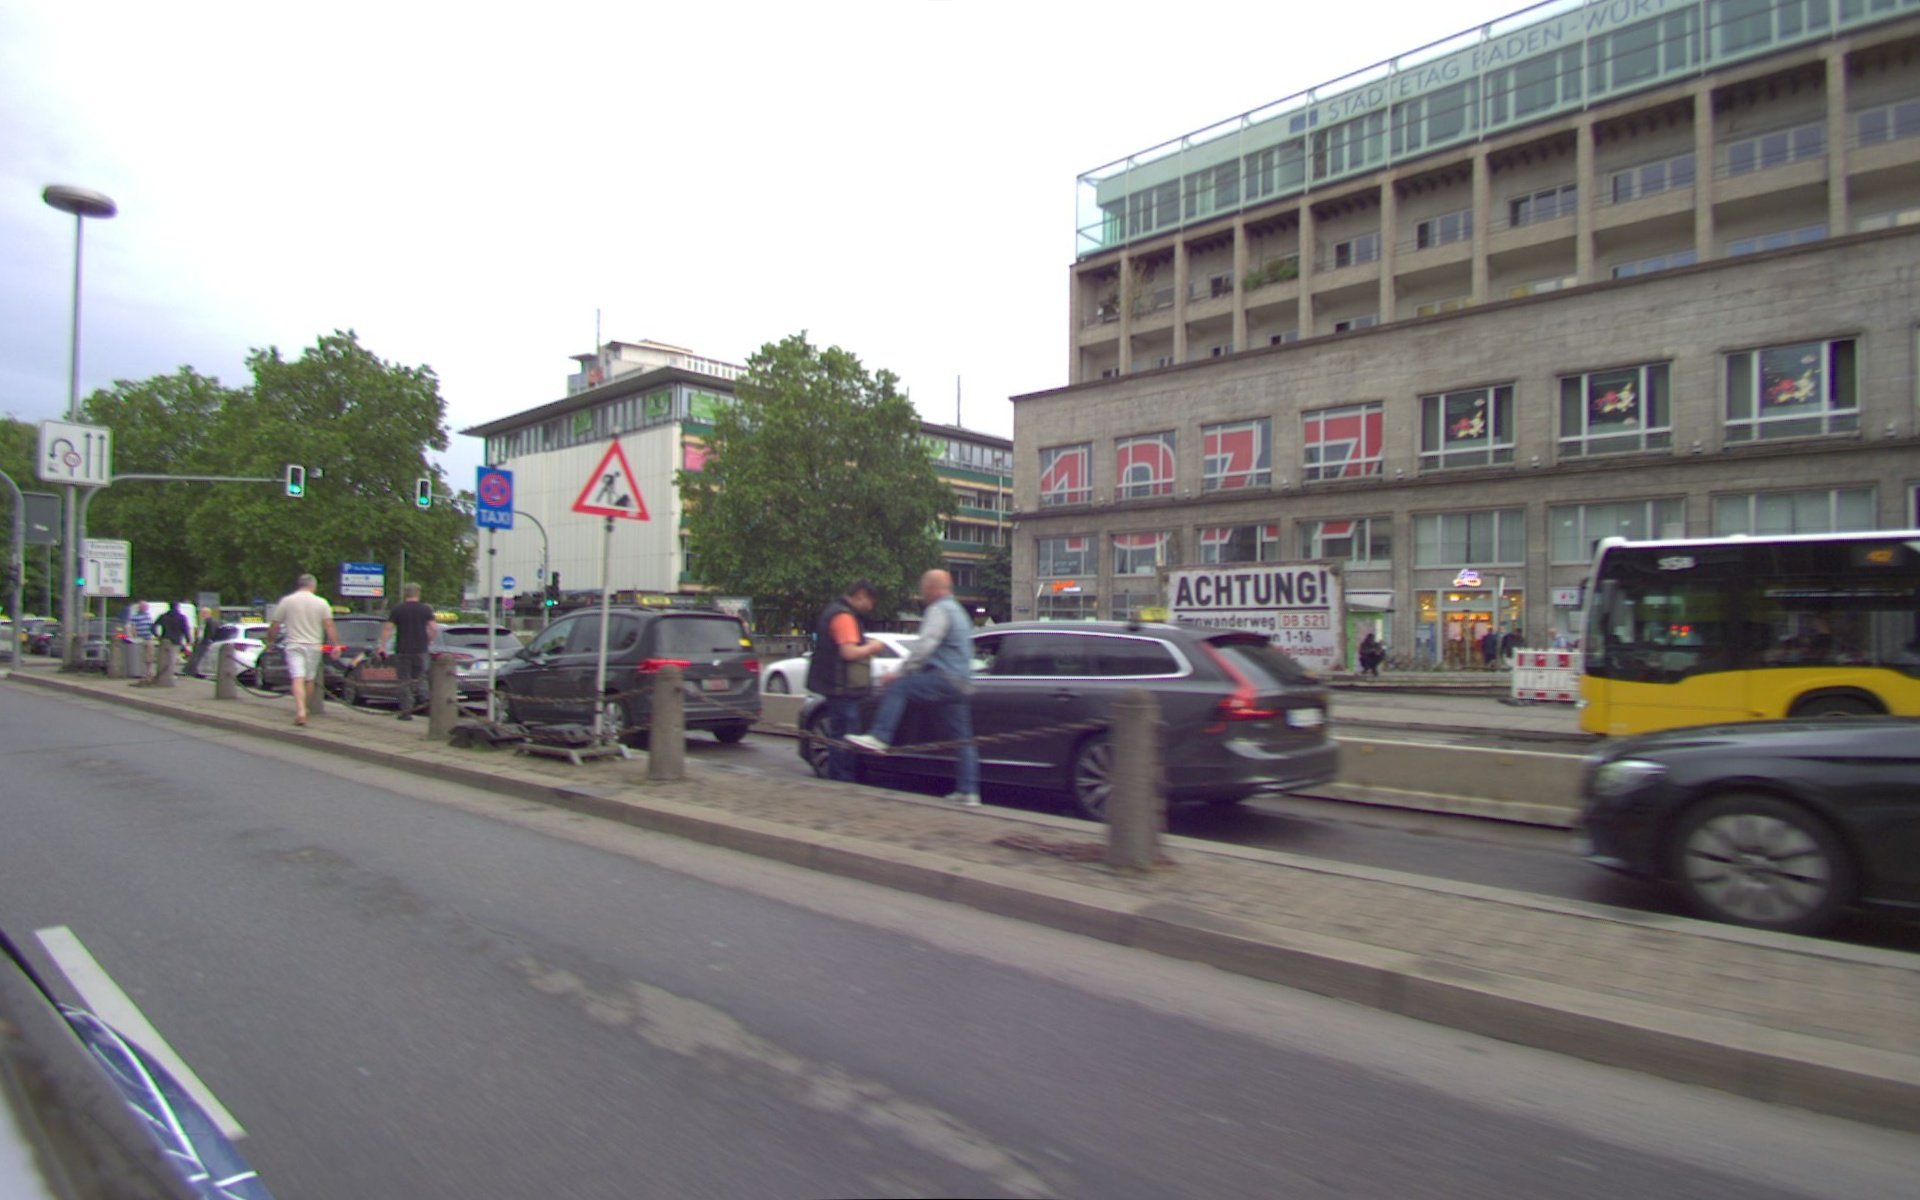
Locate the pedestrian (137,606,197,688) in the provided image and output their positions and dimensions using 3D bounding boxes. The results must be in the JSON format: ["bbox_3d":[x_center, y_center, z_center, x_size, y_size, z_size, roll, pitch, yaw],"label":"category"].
[{"bbox_3d":[-17.680,1.065,22.566,0.604,1.789,0.776,-1,-5,30],"label":"pedestrian"}]

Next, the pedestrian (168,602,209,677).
[{"bbox_3d":[-18.027,0.925,23.660,0.592,1.724,0.644,-3,-2,40],"label":"pedestrian"}]

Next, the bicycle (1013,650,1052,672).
[{"bbox_3d":[2.839,2.394,39.808,1.376,0.857,0.673,-2,-2,30],"label":"bicycle"}]

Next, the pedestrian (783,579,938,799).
[{"bbox_3d":[-0.800,0.670,8.071,0.995,1.619,0.715,-3,-2,42],"label":"pedestrian"}]

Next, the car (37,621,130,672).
[{"bbox_3d":[-32.229,1.696,37.181,4.495,1.712,1.884,-3,-2,39],"label":"car"}]

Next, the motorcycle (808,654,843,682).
[{"bbox_3d":[-5.425,2.732,40.809,0.574,1.065,1.626,0,-2,-40],"label":"motorcycle"}]

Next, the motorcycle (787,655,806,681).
[{"bbox_3d":[-6.931,2.863,42.807,0.573,1.051,1.628,-1,-1,-16],"label":"motorcycle"}]

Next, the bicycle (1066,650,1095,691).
[{"bbox_3d":[4.569,2.645,38.200,0.512,1.445,1.473,-2,-2,30],"label":"bicycle"}]

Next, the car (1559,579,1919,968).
[{"bbox_3d":[5.477,0.736,4.082,5.010,1.589,1.909,-2,-4,41],"label":"car"}]

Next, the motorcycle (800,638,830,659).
[{"bbox_3d":[-7.525,2.505,52.400,1.715,1.055,0.525,-2,-3,39],"label":"motorcycle"}]

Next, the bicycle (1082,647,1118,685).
[{"bbox_3d":[5.213,2.446,37.652,0.677,1.335,1.654,-2,-2,32],"label":"bicycle"}]

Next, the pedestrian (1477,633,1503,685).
[{"bbox_3d":[18.017,2.004,34.417,0.745,1.730,0.624,-1,-2,29],"label":"pedestrian"}]

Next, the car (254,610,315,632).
[{"bbox_3d":[-67.740,2.096,101.580,2.036,2.029,4.765,-3,-3,43],"label":"car"}]

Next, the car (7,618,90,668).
[{"bbox_3d":[-37.165,1.766,41.236,4.518,1.912,1.884,-3,-2,39],"label":"car"}]

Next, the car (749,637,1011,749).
[{"bbox_3d":[-1.528,1.550,17.974,4.680,1.703,1.909,-2,-4,41],"label":"car"}]

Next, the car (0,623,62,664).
[{"bbox_3d":[-41.786,1.960,45.207,4.478,1.735,1.766,-3,-4,39],"label":"car"}]

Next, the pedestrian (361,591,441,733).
[{"bbox_3d":[-7.250,0.789,13.127,0.711,1.768,0.691,-2,-3,42],"label":"pedestrian"}]

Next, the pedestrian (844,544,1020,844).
[{"bbox_3d":[-0.163,0.573,6.620,0.616,1.782,1.039,-2,-3,41],"label":"pedestrian"}]

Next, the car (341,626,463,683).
[{"bbox_3d":[-18.008,1.733,32.574,4.680,1.703,1.909,-2,-4,41],"label":"car"}]

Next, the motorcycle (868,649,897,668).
[{"bbox_3d":[-4.377,3.271,57.006,1.715,1.055,0.525,-2,-3,39],"label":"motorcycle"}]

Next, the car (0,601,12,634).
[{"bbox_3d":[-52.288,0.975,54.011,4.415,1.715,1.872,-3,-2,38],"label":"car"}]

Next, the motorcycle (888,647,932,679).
[{"bbox_3d":[-1.909,2.421,39.023,0.583,1.143,1.789,-2,-2,43],"label":"motorcycle"}]

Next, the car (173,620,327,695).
[{"bbox_3d":[-17.232,1.356,24.458,4.840,1.633,1.993,-2,-3,42],"label":"car"}]

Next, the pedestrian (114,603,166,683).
[{"bbox_3d":[-18.824,0.994,23.236,0.550,1.789,0.754,3,-4,-14],"label":"pedestrian"}]

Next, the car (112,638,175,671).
[{"bbox_3d":[-43.709,2.908,54.149,3.799,1.658,1.816,-3,-2,38],"label":"car"}]

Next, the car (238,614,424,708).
[{"bbox_3d":[-12.937,1.204,20.705,4.680,1.703,1.909,-2,-4,41],"label":"car"}]

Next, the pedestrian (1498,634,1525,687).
[{"bbox_3d":[18.053,1.973,33.139,0.745,1.730,0.624,-1,-2,29],"label":"pedestrian"}]

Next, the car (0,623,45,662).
[{"bbox_3d":[-46.991,2.118,50.010,4.560,1.866,1.896,-2,-4,38],"label":"car"}]

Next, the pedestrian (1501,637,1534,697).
[{"bbox_3d":[14.945,1.784,27.129,0.640,1.578,0.488,-2,-3,43],"label":"pedestrian"}]

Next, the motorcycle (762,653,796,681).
[{"bbox_3d":[-7.056,2.596,39.414,0.471,1.054,1.625,0,-2,-43],"label":"motorcycle"}]

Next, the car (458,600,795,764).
[{"bbox_3d":[-4.345,0.946,12.782,4.680,1.703,1.909,-2,-4,41],"label":"car"}]

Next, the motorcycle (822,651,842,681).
[{"bbox_3d":[-4.910,2.501,38.694,0.593,1.065,1.819,-1,-1,-12],"label":"motorcycle"}]

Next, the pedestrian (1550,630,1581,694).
[{"bbox_3d":[16.601,1.682,27.743,0.691,1.730,0.464,-1,-2,35],"label":"pedestrian"}]

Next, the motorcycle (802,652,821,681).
[{"bbox_3d":[-6.381,2.839,43.382,0.573,1.142,1.628,-1,-1,-16],"label":"motorcycle"}]

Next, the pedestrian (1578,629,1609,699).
[{"bbox_3d":[16.112,1.617,25.757,0.555,1.730,0.485,-2,-3,44],"label":"pedestrian"}]

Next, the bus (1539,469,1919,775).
[{"bbox_3d":[12.743,0.293,11.249,10.572,3.402,2.846,-2,-6,42],"label":"bus"}]

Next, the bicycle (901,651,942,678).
[{"bbox_3d":[-1.659,2.765,43.379,1.592,1.065,0.707,-1,-2,-32],"label":"bicycle"}]

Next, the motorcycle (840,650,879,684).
[{"bbox_3d":[-3.952,2.614,39.846,0.691,1.237,1.941,-2,-1,22],"label":"motorcycle"}]

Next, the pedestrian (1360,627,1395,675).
[{"bbox_3d":[9.859,1.194,23.895,0.694,1.117,0.624,-1,-1,29],"label":"pedestrian"}]

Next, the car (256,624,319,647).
[{"bbox_3d":[-52.610,2.792,79.217,3.683,1.554,1.857,-2,1,-12],"label":"car"}]

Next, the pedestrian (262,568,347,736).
[{"bbox_3d":[-8.214,0.635,12.684,0.772,2.023,0.715,-2,-2,42],"label":"pedestrian"}]

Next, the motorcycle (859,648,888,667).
[{"bbox_3d":[-4.805,3.191,56.173,1.715,1.055,0.525,-2,-3,39],"label":"motorcycle"}]

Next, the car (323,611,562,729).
[{"bbox_3d":[-8.711,1.105,16.850,4.680,1.703,1.909,-2,-4,41],"label":"car"}]

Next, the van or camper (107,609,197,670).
[{"bbox_3d":[-35.808,1.774,44.776,5.366,2.533,1.973,-2,-6,40],"label":"van or camper"}]

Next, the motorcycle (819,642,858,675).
[{"bbox_3d":[-4.223,2.026,35.241,0.600,1.065,1.428,-2,-2,31],"label":"motorcycle"}]

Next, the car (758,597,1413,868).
[{"bbox_3d":[0.725,0.880,8.427,5.258,1.589,1.909,-2,-4,41],"label":"car"}]

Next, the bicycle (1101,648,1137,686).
[{"bbox_3d":[5.848,2.454,37.198,0.677,1.335,1.715,-2,-2,32],"label":"bicycle"}]
